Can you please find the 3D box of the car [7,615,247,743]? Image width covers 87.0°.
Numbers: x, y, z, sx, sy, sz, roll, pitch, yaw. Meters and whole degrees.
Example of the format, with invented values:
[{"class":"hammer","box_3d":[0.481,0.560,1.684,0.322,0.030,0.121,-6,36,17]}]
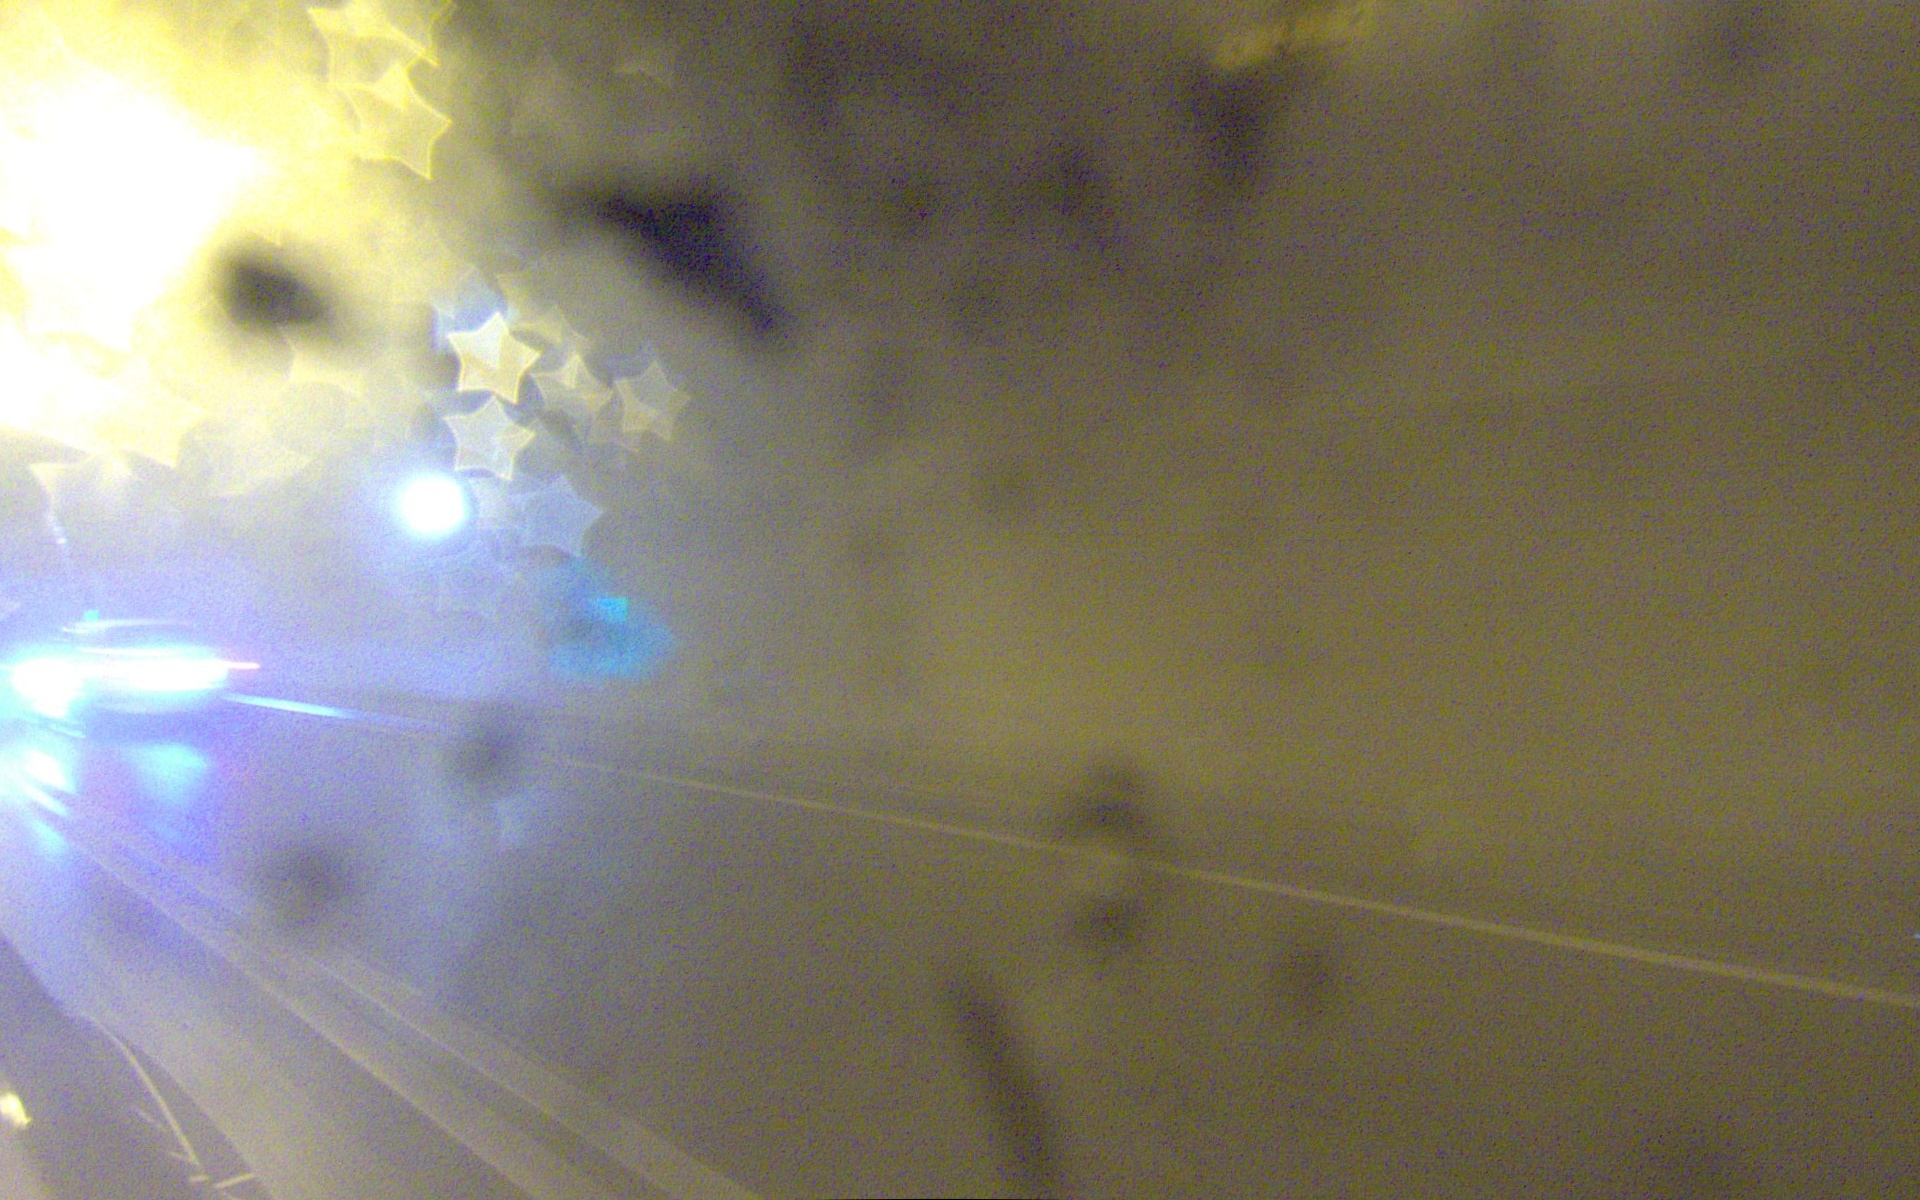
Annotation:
[{"class":"car","box_3d":[-11.243,0.943,13.534,4.582,1.388,1.695,-1,0,41]}]
